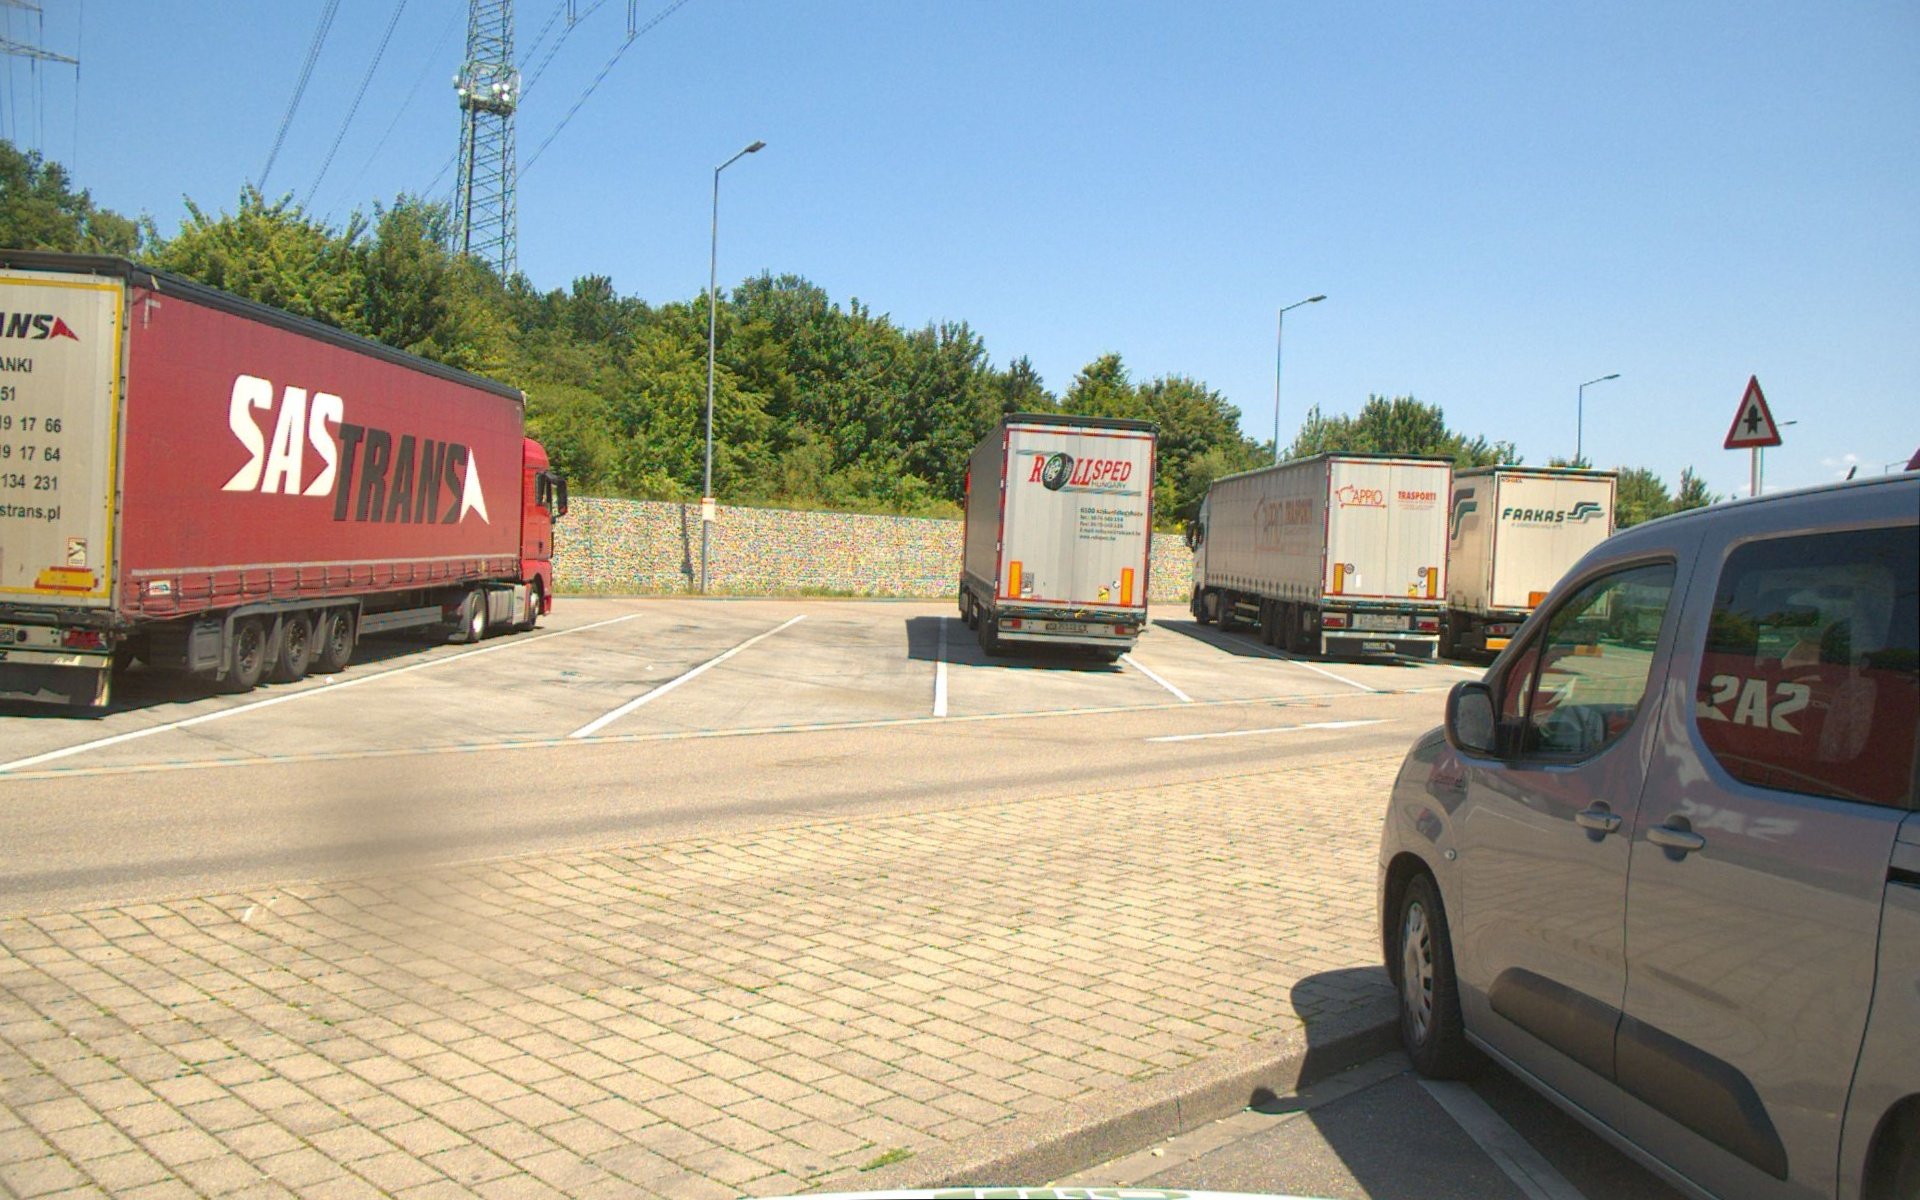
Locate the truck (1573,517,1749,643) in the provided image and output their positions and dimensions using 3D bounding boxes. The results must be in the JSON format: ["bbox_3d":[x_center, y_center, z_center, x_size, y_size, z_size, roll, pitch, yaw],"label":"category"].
[{"bbox_3d":[21.771,-0.703,51.754,2.746,3.582,5.900,3,2,-1],"label":"truck"}]

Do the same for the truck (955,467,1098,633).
[{"bbox_3d":[1.508,-1.246,40.548,3.041,3.628,5.900,3,2,-1],"label":"truck"}]

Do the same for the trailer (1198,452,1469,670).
[{"bbox_3d":[8.178,-1.035,38.867,2.754,4.058,14.395,3,2,-1],"label":"trailer"}]

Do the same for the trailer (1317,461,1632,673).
[{"bbox_3d":[11.741,-0.941,39.972,2.754,4.058,14.395,3,2,-1],"label":"trailer"}]

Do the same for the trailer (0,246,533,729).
[{"bbox_3d":[-8.716,-1.294,21.449,2.735,4.155,14.131,3,2,-1],"label":"trailer"}]

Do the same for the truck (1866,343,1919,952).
[{"bbox_3d":[5.013,0.199,4.995,1.937,2.668,5.307,1,0,4],"label":"truck"}]

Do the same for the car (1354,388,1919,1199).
[{"bbox_3d":[2.451,0.603,3.872,1.832,1.896,4.174,3,1,-2],"label":"car"}]

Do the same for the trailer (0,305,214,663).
[{"bbox_3d":[-12.543,-1.339,17.726,2.739,4.155,14.131,3,2,-1],"label":"trailer"}]

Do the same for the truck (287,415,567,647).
[{"bbox_3d":[-8.782,-1.155,28.020,2.793,3.385,5.900,3,2,-1],"label":"truck"}]

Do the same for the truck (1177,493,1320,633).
[{"bbox_3d":[8.059,-1.100,46.967,2.805,3.582,5.900,3,2,-1],"label":"truck"}]

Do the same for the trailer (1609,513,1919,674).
[{"bbox_3d":[21.850,-0.397,44.524,2.754,3.568,14.395,3,2,-1],"label":"trailer"}]

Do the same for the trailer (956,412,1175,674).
[{"bbox_3d":[1.666,-1.199,33.657,3.070,4.058,14.393,3,2,-1],"label":"trailer"}]
